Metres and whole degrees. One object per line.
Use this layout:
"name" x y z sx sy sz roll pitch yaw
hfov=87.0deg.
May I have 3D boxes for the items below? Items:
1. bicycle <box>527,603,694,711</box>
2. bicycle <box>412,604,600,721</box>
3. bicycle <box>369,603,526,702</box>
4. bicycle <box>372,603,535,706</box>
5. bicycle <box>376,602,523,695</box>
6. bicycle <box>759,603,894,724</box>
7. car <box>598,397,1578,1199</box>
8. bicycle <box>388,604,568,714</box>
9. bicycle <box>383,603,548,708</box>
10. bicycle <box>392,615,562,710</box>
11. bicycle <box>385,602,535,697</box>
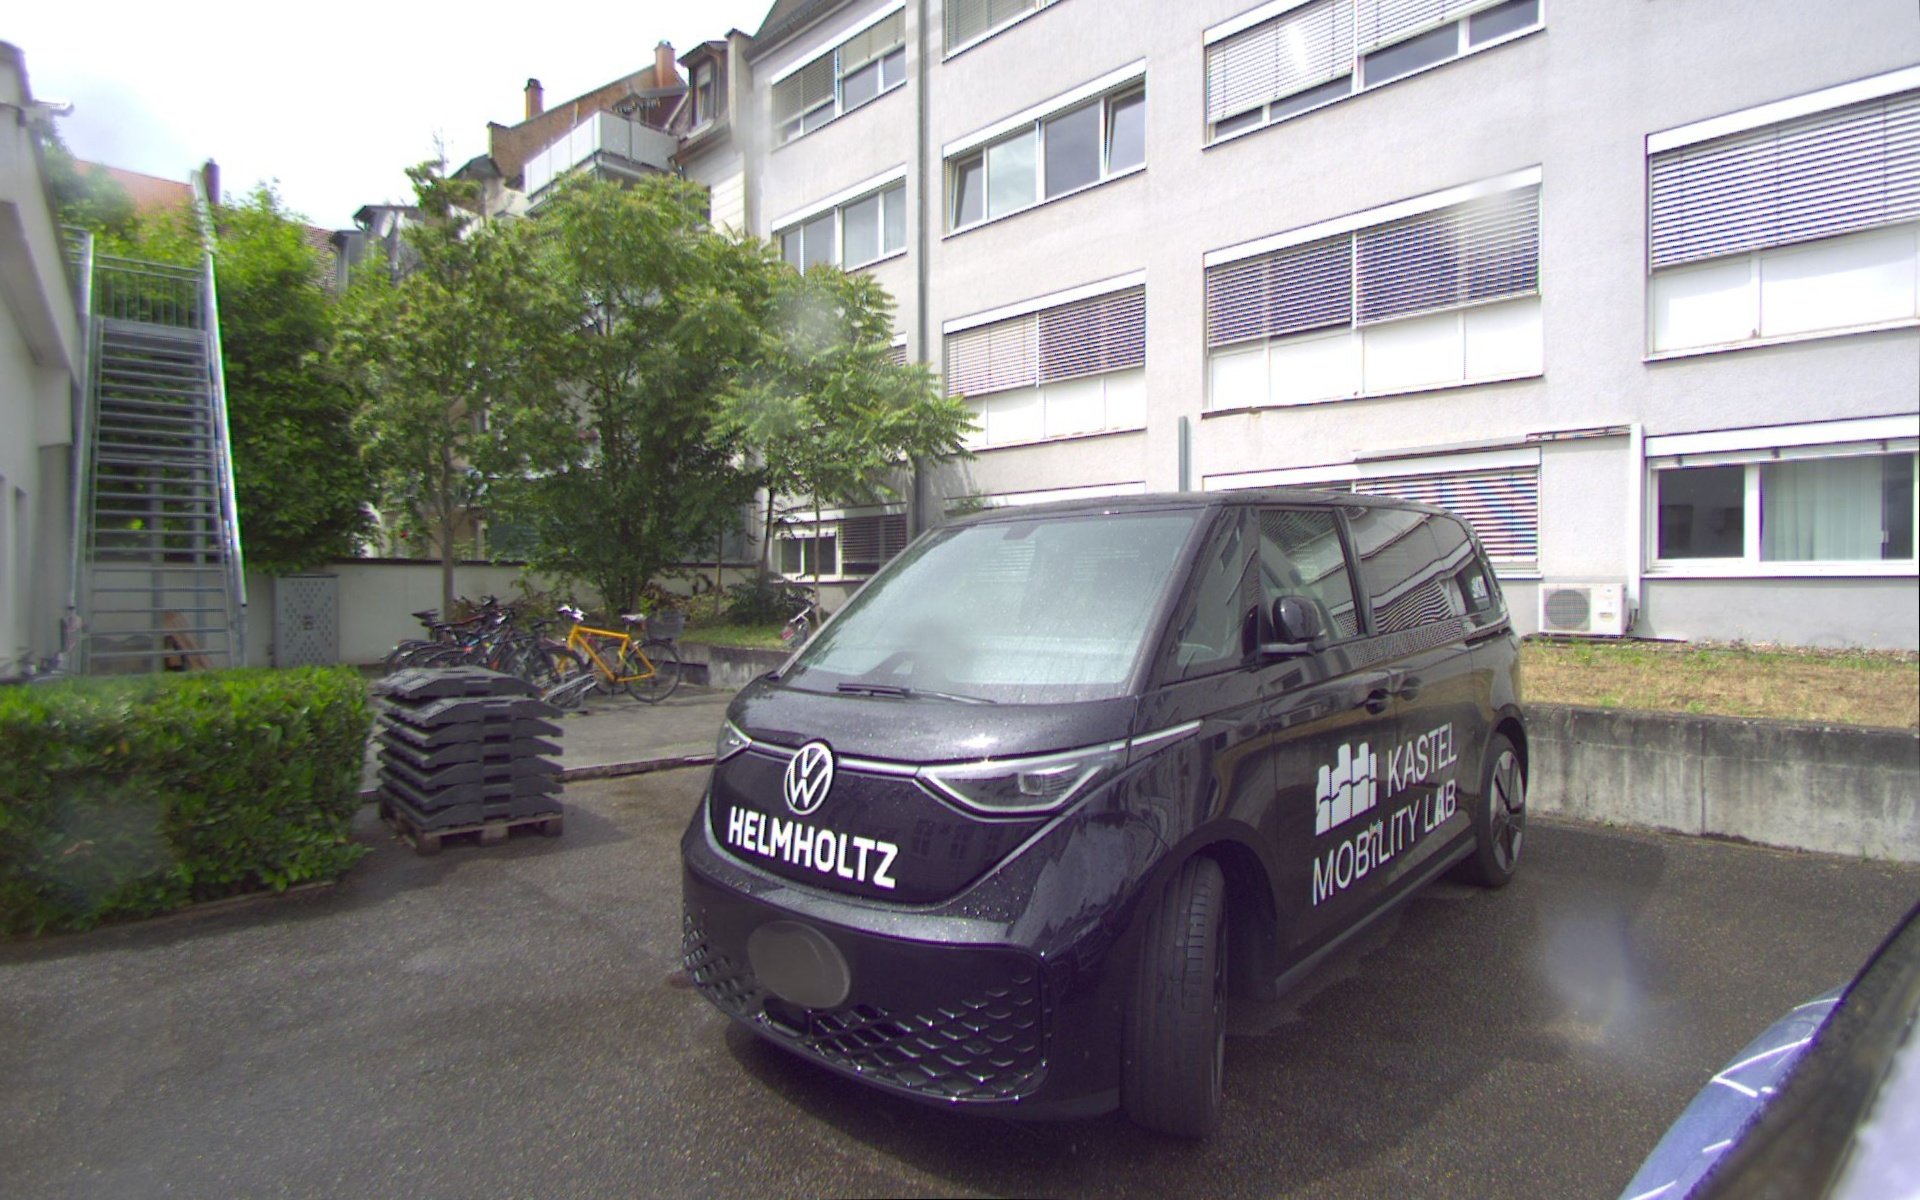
"bicycle" -3.906 0.605 11.413 1.764 1.118 0.367 0 1 -38
"bicycle" -4.719 0.613 10.598 1.764 1.118 0.405 0 1 -38
"bicycle" -6.292 0.610 12.504 0.344 1.117 1.728 1 1 44
"bicycle" -6.009 0.613 12.092 0.341 1.117 1.728 1 1 44
"bicycle" -6.692 0.607 13.338 0.341 1.117 1.728 1 1 44
"bicycle" -1.435 0.618 10.604 0.439 1.117 1.793 -3 3 -42
"car" 1.077 0.447 4.500 1.963 1.888 4.675 0 2 43
"bicycle" -5.289 0.613 11.171 1.764 1.118 0.354 0 1 -38
"bicycle" -5.755 0.612 11.860 0.332 1.117 1.728 1 1 44
"bicycle" -5.504 0.680 11.628 0.329 0.979 1.768 1 1 44
"bicycle" -6.437 0.606 13.095 0.354 1.117 1.728 1 1 44
